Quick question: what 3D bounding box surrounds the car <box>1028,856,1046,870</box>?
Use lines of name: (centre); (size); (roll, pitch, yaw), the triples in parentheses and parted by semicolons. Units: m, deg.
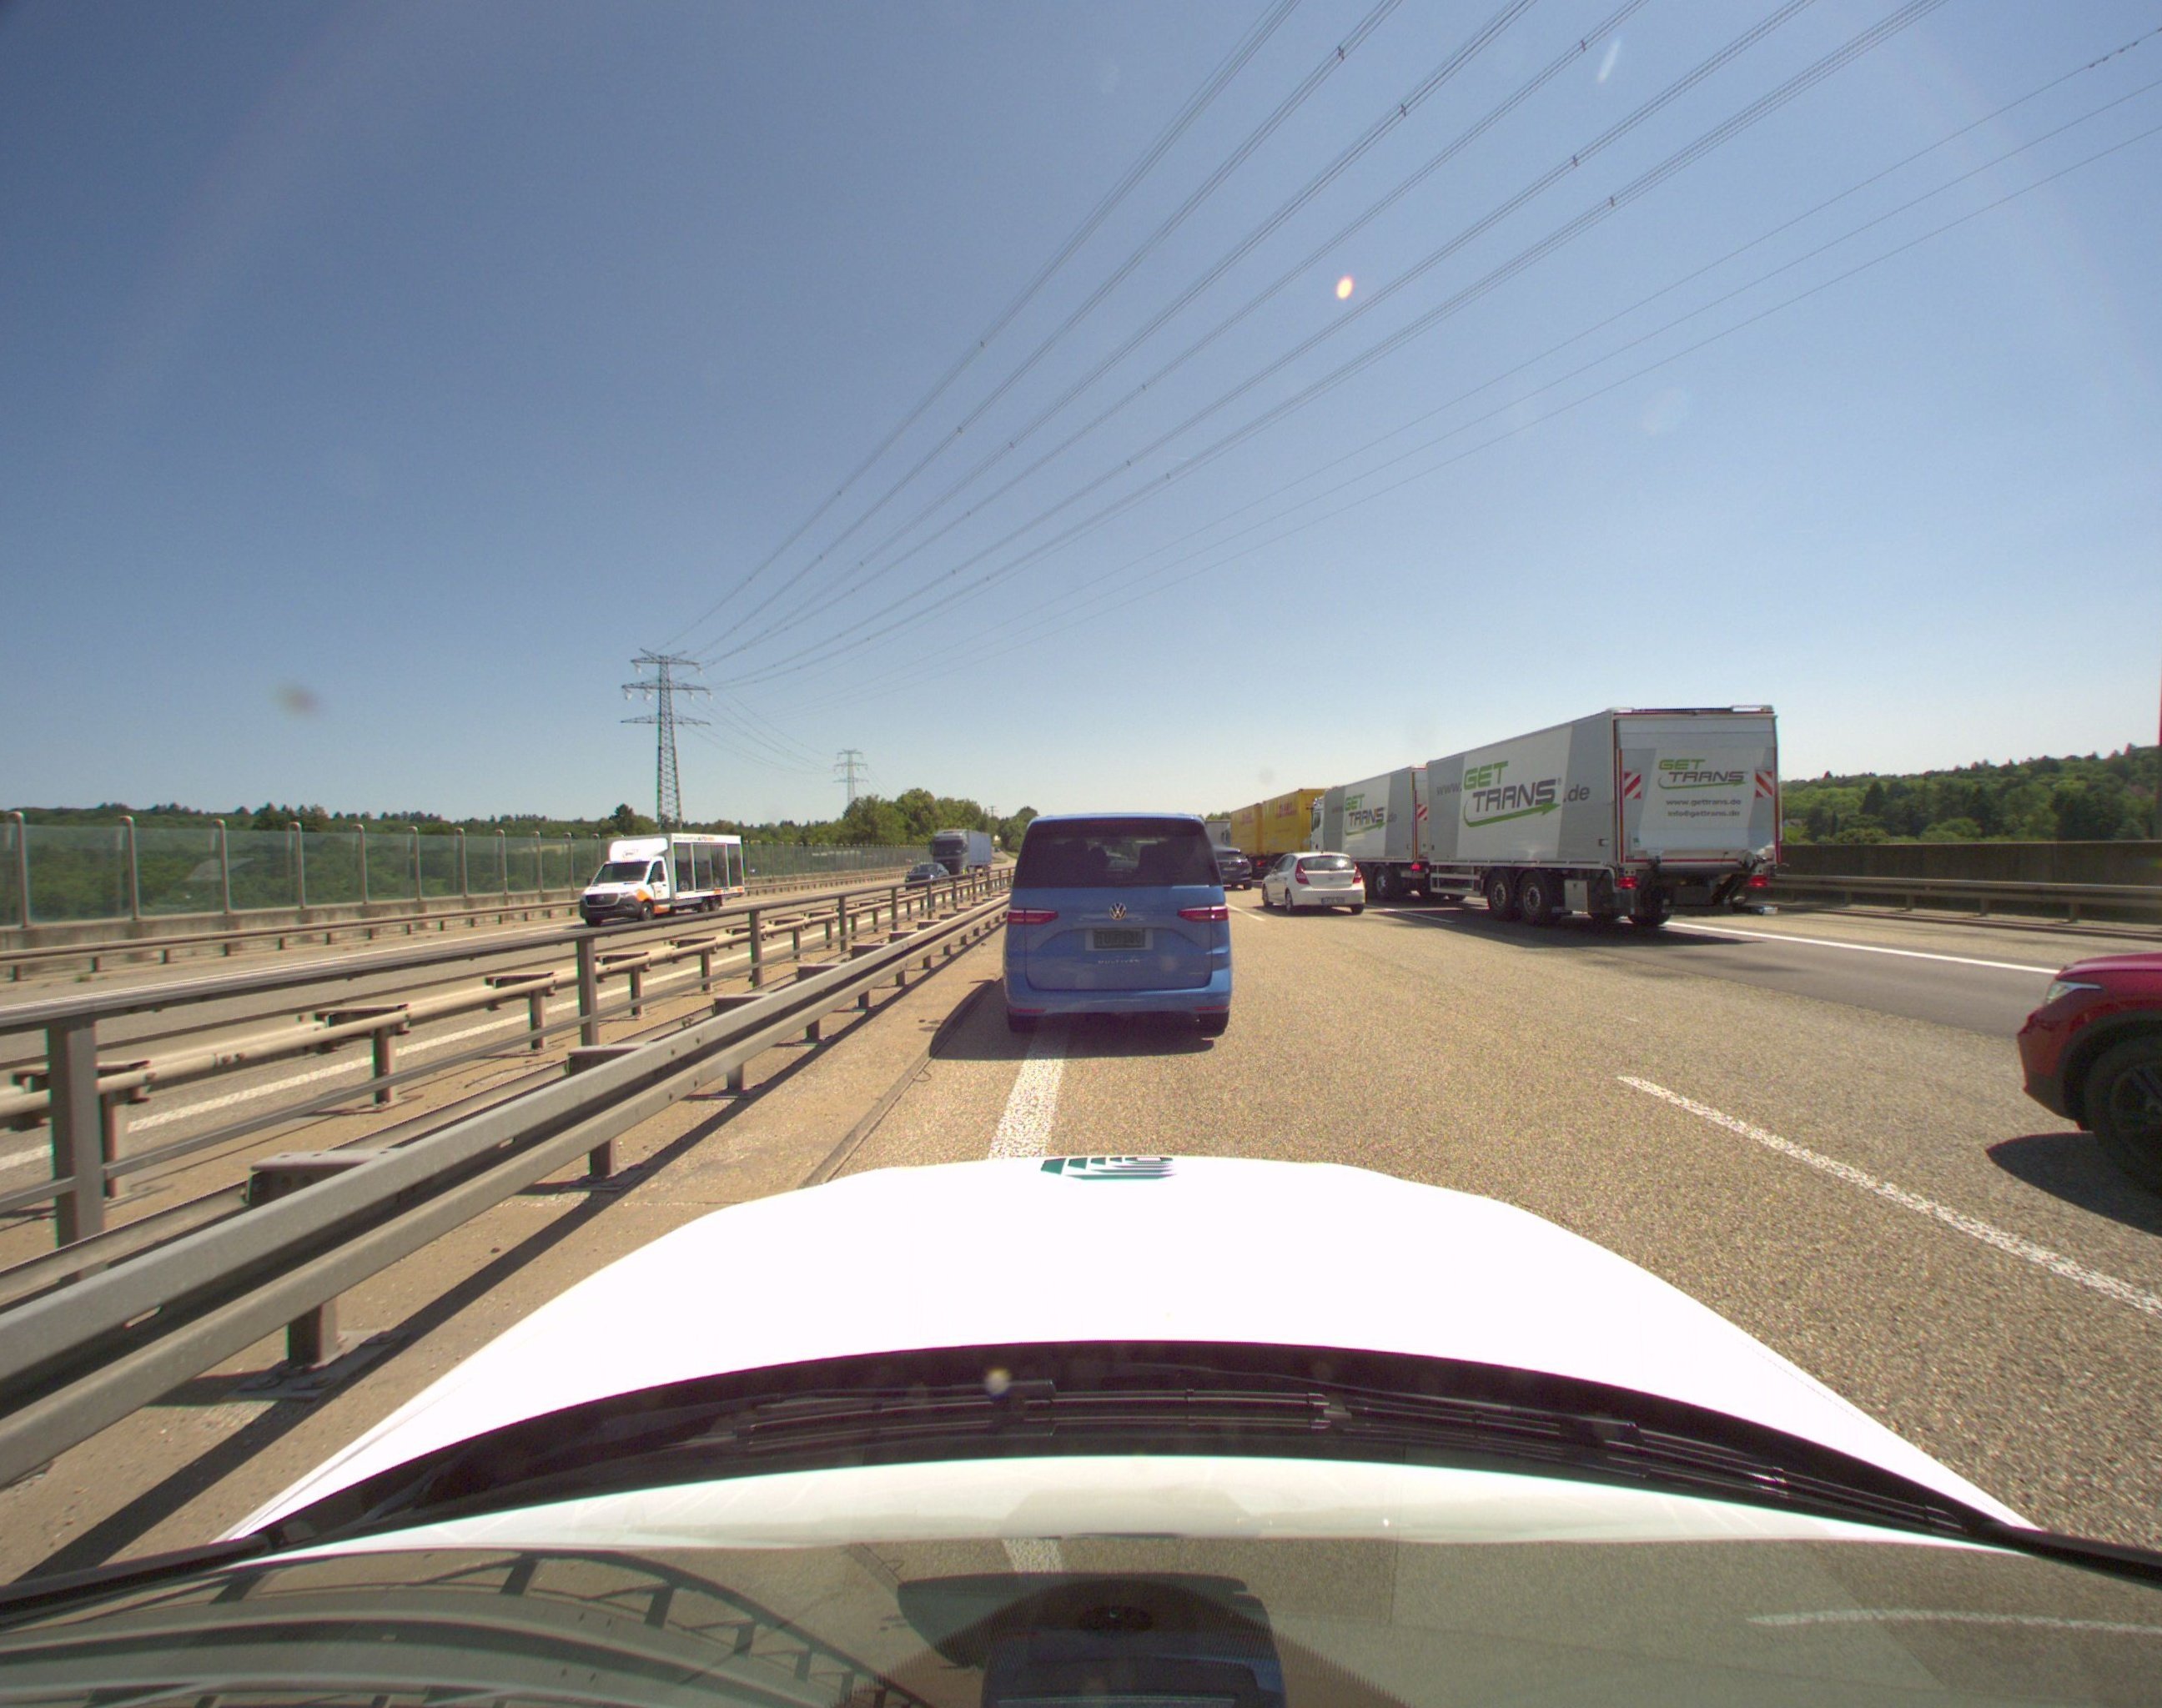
car: (-5.208, 1.091, 96.400); (1.875, 1.552, 4.189); (0, -1, 0)

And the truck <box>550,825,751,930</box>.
truck: (-15.435, 0.791, 30.163); (2.553, 3.188, 8.298); (-4, -1, 2)

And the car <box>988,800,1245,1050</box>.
car: (0.332, 0.558, 8.162); (1.923, 1.874, 4.001); (0, -1, 2)

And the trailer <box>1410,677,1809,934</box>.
trailer: (9.689, -0.708, 16.490); (2.888, 3.891, 8.216); (0, -1, 1)

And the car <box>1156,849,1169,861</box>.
car: (12.600, 0.169, 126.332); (1.790, 1.751, 3.945); (0, -1, 2)

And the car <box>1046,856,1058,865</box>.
car: (-4.783, 1.097, 134.662); (1.875, 1.552, 4.189); (0, -1, 0)

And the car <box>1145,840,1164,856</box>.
car: (8.474, -0.671, 94.121); (1.912, 1.706, 4.001); (0, -1, 2)

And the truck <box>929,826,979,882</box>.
truck: (-10.039, 0.038, 64.966); (2.743, 4.116, 6.267); (-2, -1, 1)

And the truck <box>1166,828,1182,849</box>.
truck: (11.839, -1.918, 103.952); (1.790, 2.596, 4.307); (0, -1, 2)

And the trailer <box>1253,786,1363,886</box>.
trailer: (10.228, -0.706, 37.866); (2.673, 4.088, 8.980); (0, -1, 1)

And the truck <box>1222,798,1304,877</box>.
truck: (10.346, -0.812, 47.364); (2.690, 4.088, 9.940); (0, -1, 1)

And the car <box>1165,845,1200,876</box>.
car: (6.746, 0.425, 54.349); (1.955, 1.936, 3.933); (0, -1, 2)

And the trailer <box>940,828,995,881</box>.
trailer: (-9.844, 0.113, 72.299); (2.695, 4.165, 12.052); (-3, -1, 1)

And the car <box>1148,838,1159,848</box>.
car: (12.842, -1.900, 144.714); (1.790, 1.751, 3.945); (0, -1, 2)

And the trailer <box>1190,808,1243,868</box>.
trailer: (11.056, -1.165, 67.616); (3.014, 4.611, 10.930); (0, -1, 2)

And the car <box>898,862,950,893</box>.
car: (-8.292, 1.227, 43.330); (1.791, 1.498, 3.853); (-3, -1, 2)

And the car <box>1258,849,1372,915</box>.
car: (5.754, 0.657, 20.473); (1.808, 1.470, 3.933); (0, -1, 1)

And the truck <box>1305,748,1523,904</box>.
truck: (9.904, -0.663, 25.985); (2.841, 3.934, 10.612); (0, -1, 2)

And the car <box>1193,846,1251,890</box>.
car: (5.668, 0.548, 33.153); (1.808, 1.679, 3.933); (0, -1, 2)

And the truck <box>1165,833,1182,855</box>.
truck: (11.156, -1.144, 98.762); (1.735, 2.549, 4.212); (0, -1, 2)

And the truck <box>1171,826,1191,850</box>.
truck: (11.020, -1.710, 89.903); (1.791, 2.449, 4.506); (0, -1, 2)

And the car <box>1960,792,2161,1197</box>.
car: (5.288, 0.569, 2.006); (1.702, 1.679, 4.286); (0, -1, 2)
